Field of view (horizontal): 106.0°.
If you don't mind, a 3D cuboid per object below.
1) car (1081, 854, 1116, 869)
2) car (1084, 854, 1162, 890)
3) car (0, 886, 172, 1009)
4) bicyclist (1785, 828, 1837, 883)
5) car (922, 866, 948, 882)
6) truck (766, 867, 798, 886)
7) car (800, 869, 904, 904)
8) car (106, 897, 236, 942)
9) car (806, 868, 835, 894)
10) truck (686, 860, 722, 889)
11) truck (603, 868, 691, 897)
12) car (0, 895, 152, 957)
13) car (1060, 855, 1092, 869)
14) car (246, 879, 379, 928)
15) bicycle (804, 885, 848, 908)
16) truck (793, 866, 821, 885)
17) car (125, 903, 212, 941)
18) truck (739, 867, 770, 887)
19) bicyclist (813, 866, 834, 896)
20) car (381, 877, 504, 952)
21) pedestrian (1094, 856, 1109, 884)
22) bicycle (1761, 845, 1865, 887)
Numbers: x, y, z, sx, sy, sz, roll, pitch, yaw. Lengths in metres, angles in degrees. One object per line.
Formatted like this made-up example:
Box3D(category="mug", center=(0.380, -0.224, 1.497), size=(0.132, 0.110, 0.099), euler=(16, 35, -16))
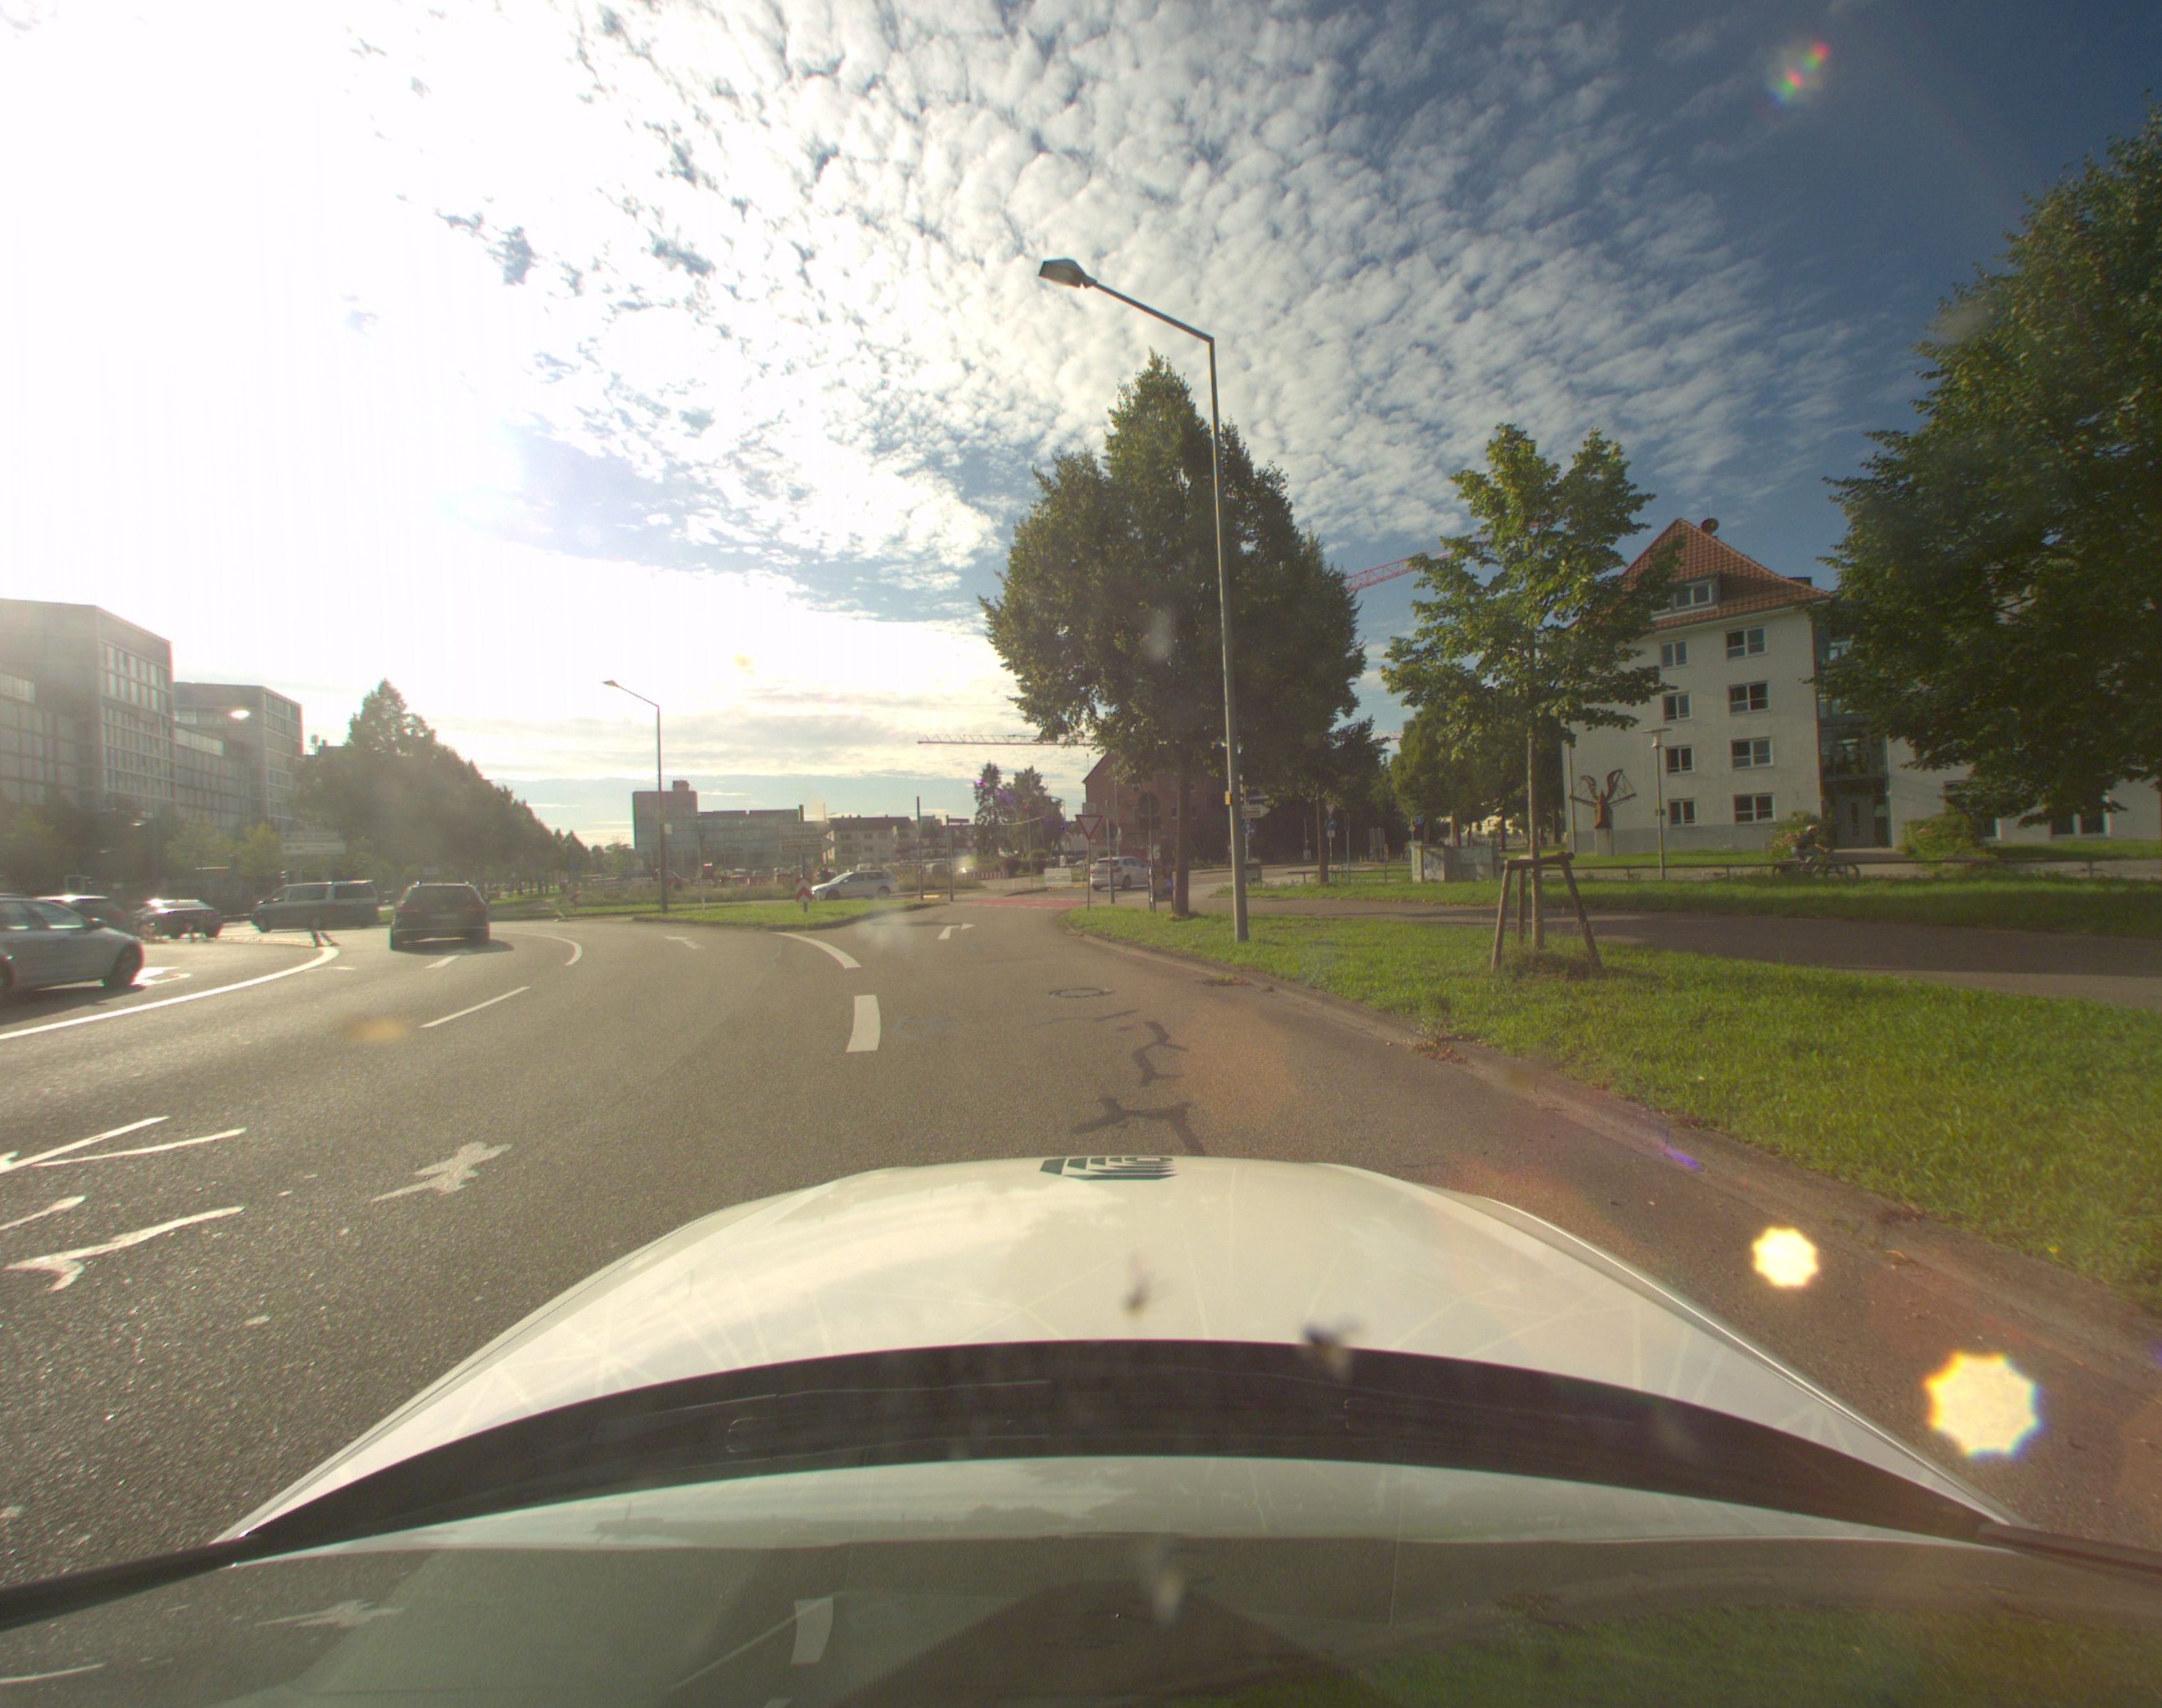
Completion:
Box3D(category="car", center=(2.087, 0.893, 97.658), size=(3.964, 1.618, 1.777), euler=(-3, -1, 8))
Box3D(category="car", center=(2.100, 0.826, 39.293), size=(1.832, 1.572, 4.483), euler=(-1, 0, 31))
Box3D(category="car", center=(-14.843, 1.245, 10.894), size=(1.859, 1.445, 4.600), euler=(-1, 0, -25))
Box3D(category="bicyclist", center=(21.210, 0.044, 23.669), size=(0.776, 1.575, 0.949), euler=(-2, -1, -38))
Box3D(category="car", center=(-18.164, 2.537, 101.311), size=(1.892, 1.816, 3.959), euler=(-2, -1, -32))
Box3D(category="truck", center=(-38.211, 2.909, 103.932), size=(2.344, 2.328, 6.385), euler=(-2, -1, -33))
Box3D(category="car", center=(-11.261, 1.590, 40.176), size=(4.565, 1.452, 1.802), euler=(-2, -1, -39))
Box3D(category="car", center=(-33.764, 2.377, 30.207), size=(4.603, 1.431, 1.913), euler=(-1, 0, 25))
Box3D(category="car", center=(-20.228, 2.067, 63.339), size=(1.883, 1.816, 3.978), euler=(-2, -1, -16))
Box3D(category="truck", center=(-45.684, 2.510, 98.534), size=(2.827, 3.207, 7.239), euler=(-2, -1, -33))
Box3D(category="truck", center=(-45.030, 2.941, 84.638), size=(7.884, 2.567, 3.045), euler=(-2, -1, -30))
Box3D(category="car", center=(-29.032, 2.022, 23.438), size=(4.018, 1.572, 1.783), euler=(-1, 0, 22))
Box3D(category="car", center=(-0.655, 0.979, 103.457), size=(3.977, 1.618, 1.772), euler=(-3, -1, -2))
Box3D(category="car", center=(-32.454, 2.102, 34.426), size=(4.611, 1.903, 1.910), euler=(-1, 0, 15))
Box3D(category="bicycle", center=(-13.646, 2.286, 43.574), size=(2.204, 1.063, 0.700), euler=(-3, 0, -18))
Box3D(category="truck", center=(-35.552, 2.786, 105.523), size=(2.071, 2.328, 5.580), euler=(-2, -1, -33))
Box3D(category="car", center=(-46.443, 3.416, 41.563), size=(1.910, 1.611, 4.610), euler=(-2, -1, -35))
Box3D(category="truck", center=(-40.922, 2.885, 101.925), size=(2.344, 2.328, 6.385), euler=(-2, -1, -33))
Box3D(category="bicyclist", center=(-13.773, 1.422, 43.535), size=(1.010, 1.511, 0.700), euler=(-3, 0, -19))
Box3D(category="car", center=(-15.646, 1.422, 19.863), size=(2.011, 1.567, 4.785), euler=(0, -3, -42))
Box3D(category="pedestrian", center=(1.411, 1.078, 56.174), size=(0.661, 1.871, 0.840), euler=(-3, -1, 26))
Box3D(category="bicycle", center=(21.229, 0.358, 23.662), size=(0.776, 1.137, 2.125), euler=(-2, 0, -38))
